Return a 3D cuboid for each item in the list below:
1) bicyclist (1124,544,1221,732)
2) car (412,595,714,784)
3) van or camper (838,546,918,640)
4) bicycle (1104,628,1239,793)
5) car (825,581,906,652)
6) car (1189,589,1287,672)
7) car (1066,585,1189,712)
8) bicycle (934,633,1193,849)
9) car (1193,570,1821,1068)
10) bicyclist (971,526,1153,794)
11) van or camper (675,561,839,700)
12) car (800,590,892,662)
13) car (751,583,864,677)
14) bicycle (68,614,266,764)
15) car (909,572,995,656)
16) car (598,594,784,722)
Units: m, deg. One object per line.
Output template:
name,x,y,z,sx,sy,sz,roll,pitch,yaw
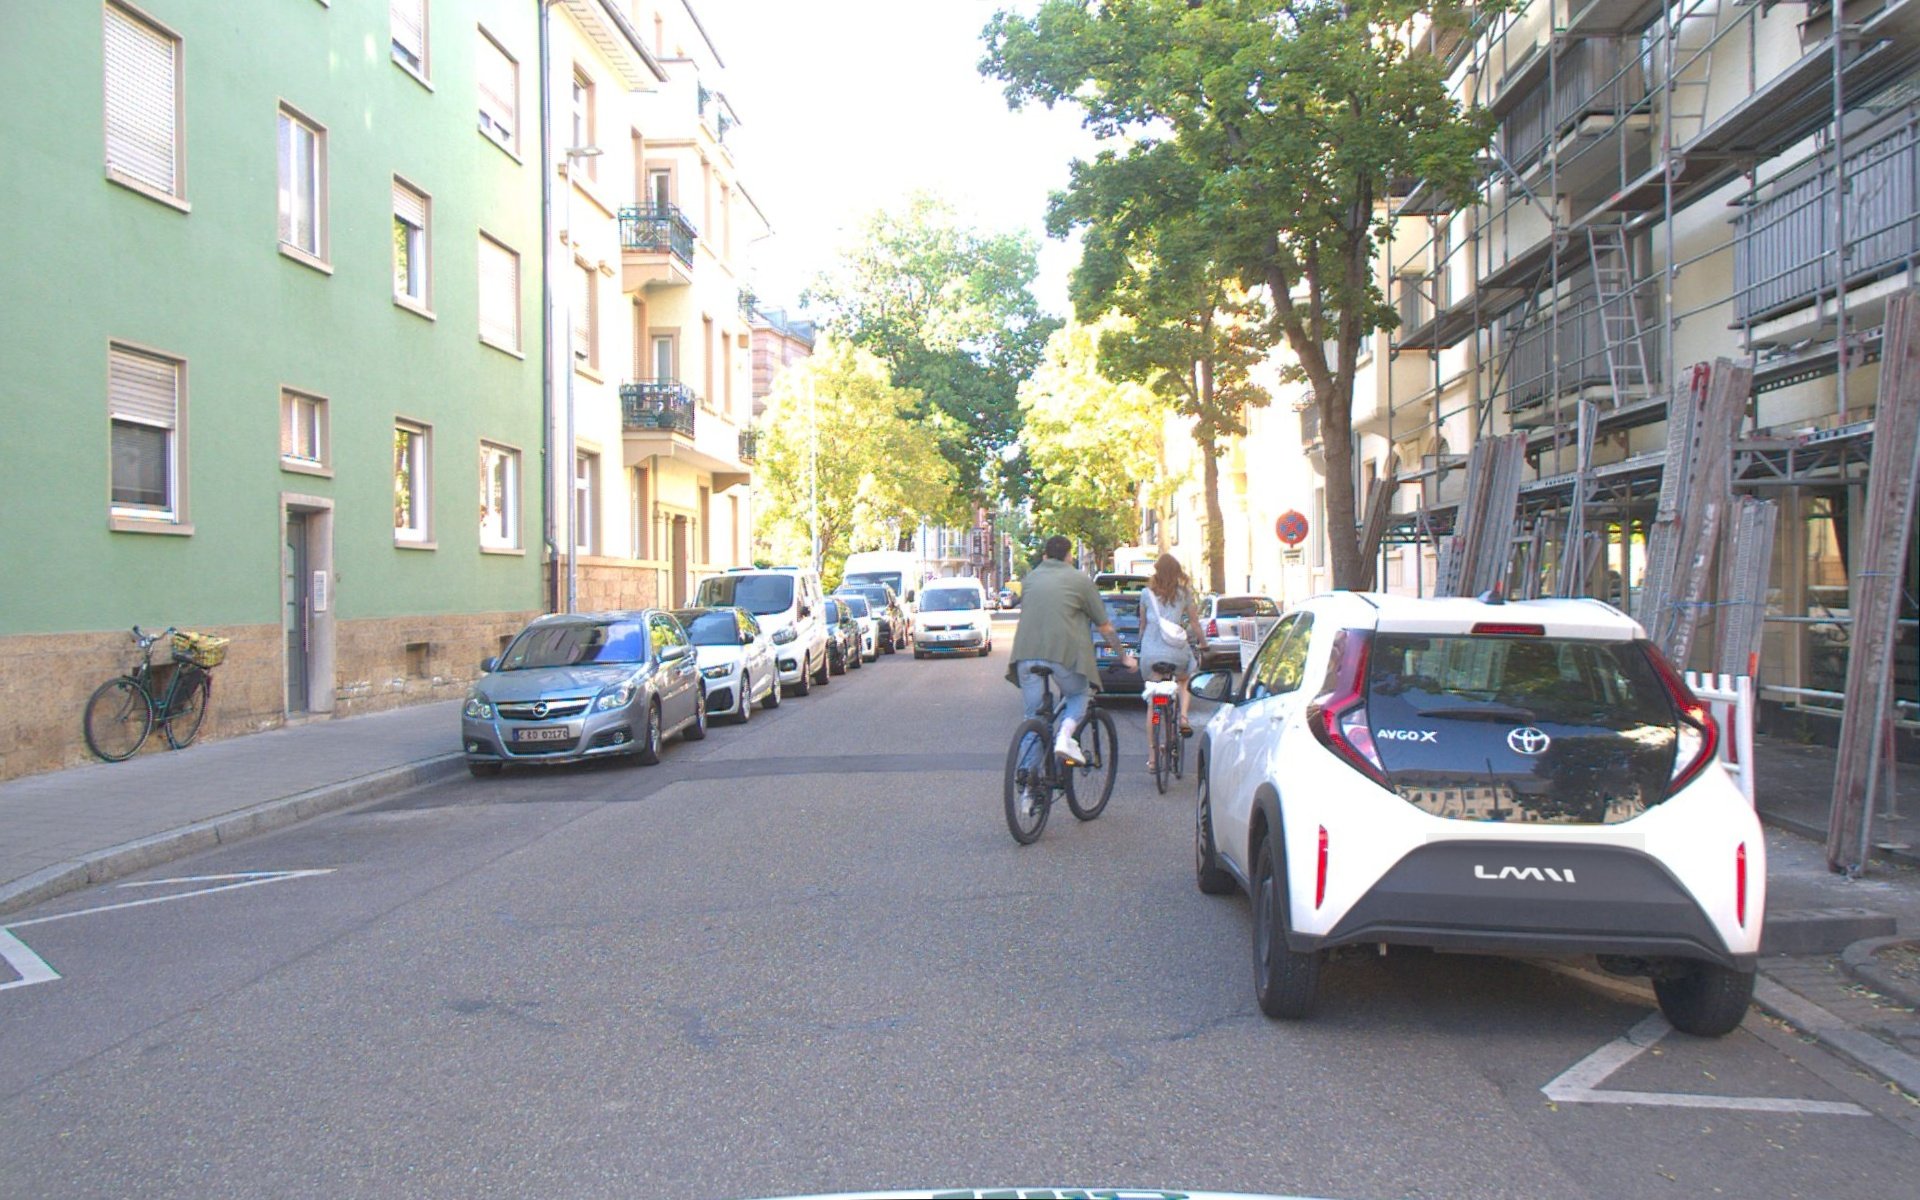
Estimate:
bicyclist,1.670,0.314,12.919,0.610,1.405,0.868,-2,-4,15
car,-3.755,0.771,16.435,1.939,1.480,4.113,-5,0,0
van or camper,-2.365,-0.217,48.929,1.952,2.597,5.024,-1,0,2
bicycle,1.748,0.829,13.334,0.821,1.169,2.234,0,0,14
car,-2.394,0.394,42.851,1.675,1.729,4.002,-1,0,3
car,5.311,0.540,31.913,1.524,1.434,3.382,2,1,4
car,2.232,0.594,22.538,1.524,1.559,3.488,1,1,4
bicycle,0.720,0.818,10.483,0.823,1.169,2.230,1,0,26
car,2.002,0.696,7.042,1.640,1.572,3.404,1,0,2
bicyclist,0.650,0.385,10.364,0.864,1.589,0.867,-2,-3,24
van or camper,-3.226,0.443,27.293,1.952,2.049,4.912,-1,0,1
car,-2.593,0.563,38.407,1.675,1.531,4.002,-1,1,3
car,-2.936,0.541,32.536,1.675,1.713,4.002,-1,0,3
bicycle,-7.118,0.755,14.991,0.539,1.198,2.280,2,1,3
car,-0.147,0.311,39.768,1.744,1.893,4.201,-1,0,4
car,-3.398,0.685,21.533,1.651,1.479,3.711,-1,0,2
